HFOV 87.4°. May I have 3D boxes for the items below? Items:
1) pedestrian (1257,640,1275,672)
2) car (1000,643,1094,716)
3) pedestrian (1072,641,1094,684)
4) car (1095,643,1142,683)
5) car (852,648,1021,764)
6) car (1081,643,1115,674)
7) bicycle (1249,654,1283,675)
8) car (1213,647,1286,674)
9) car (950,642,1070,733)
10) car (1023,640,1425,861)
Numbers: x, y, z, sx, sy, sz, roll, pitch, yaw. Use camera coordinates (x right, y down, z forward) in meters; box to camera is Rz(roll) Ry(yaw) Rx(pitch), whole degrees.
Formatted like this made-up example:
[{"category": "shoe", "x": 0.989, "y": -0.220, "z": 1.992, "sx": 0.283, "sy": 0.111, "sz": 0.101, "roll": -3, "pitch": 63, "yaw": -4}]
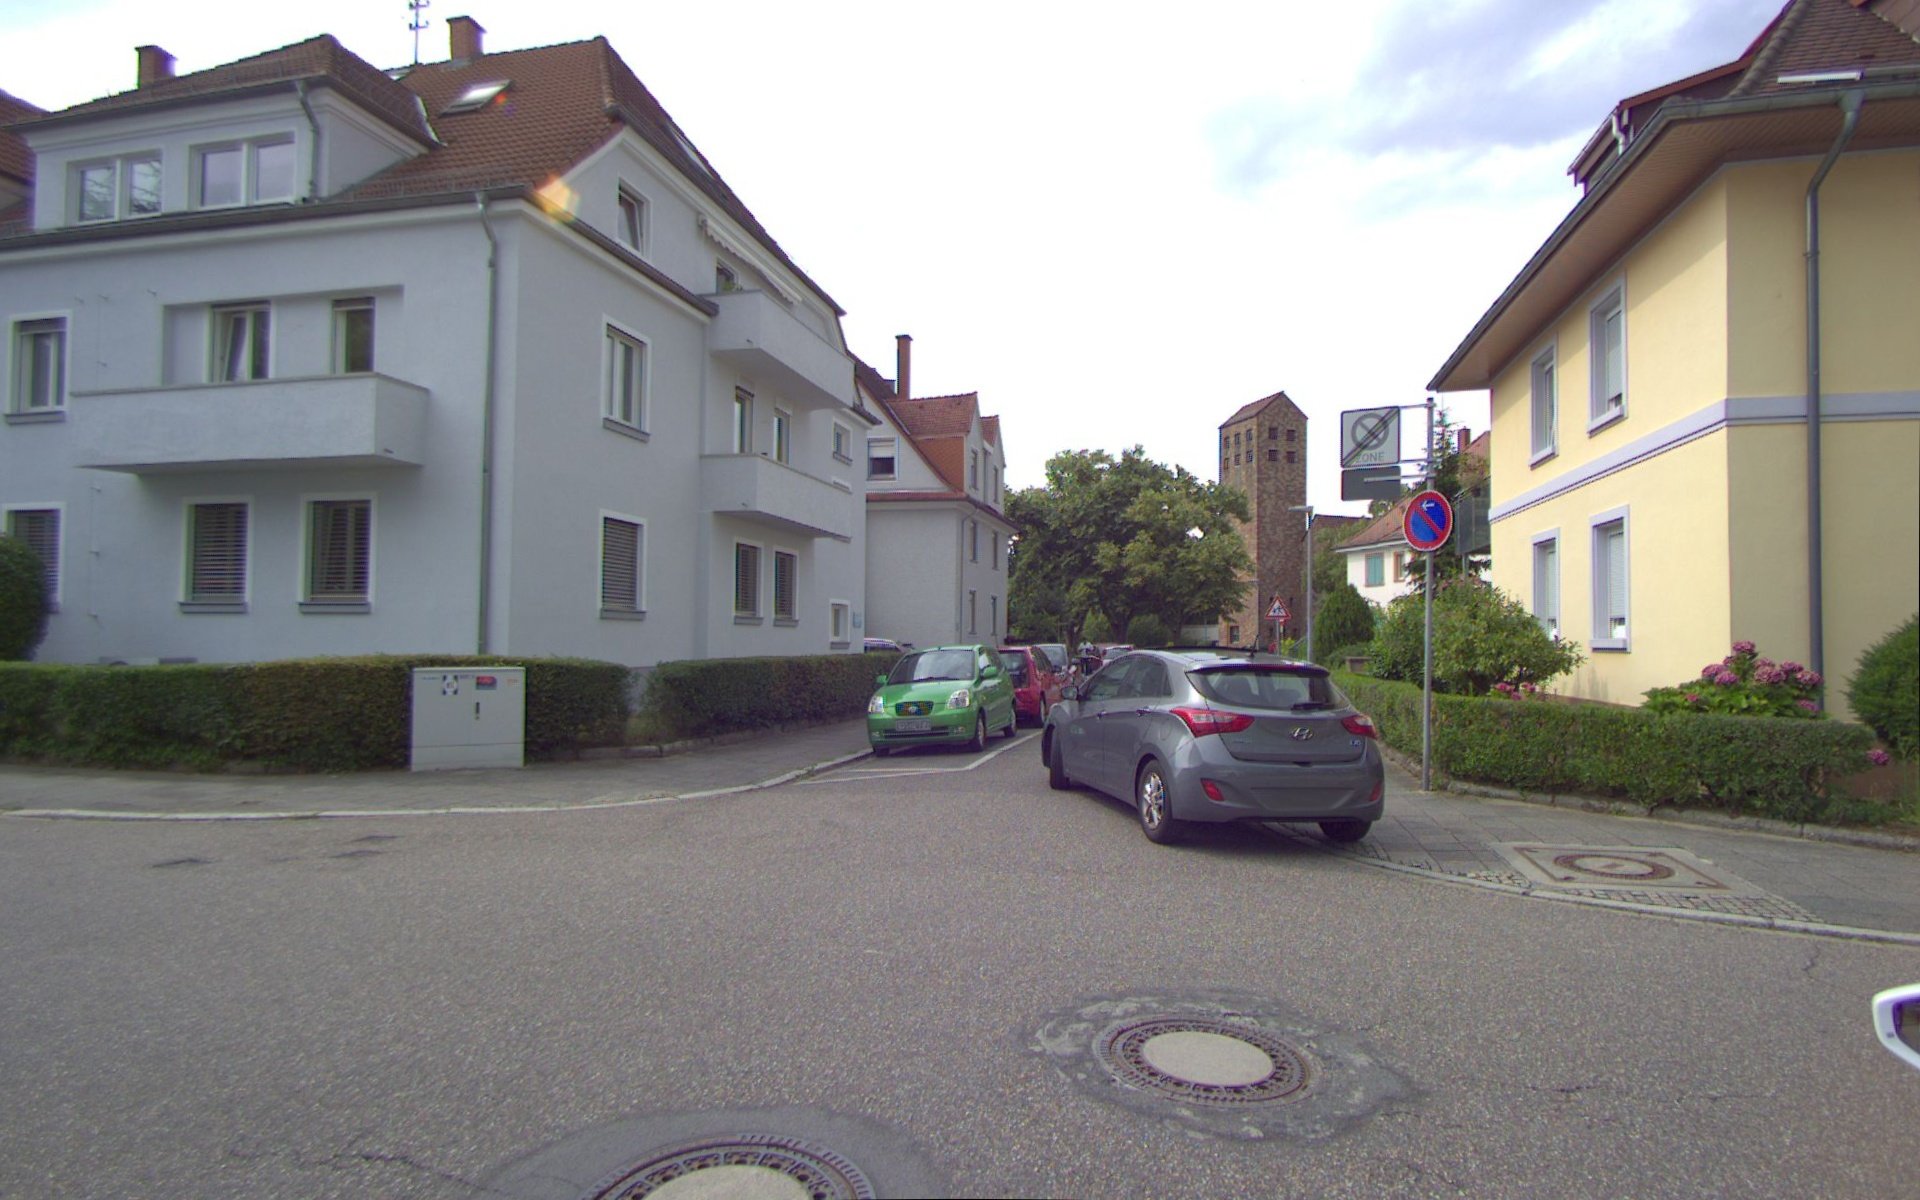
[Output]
[{"category": "pedestrian", "x": 17.620, "y": 3.233, "z": 57.797, "sx": 0.910, "sy": 1.841, "sz": 0.624, "roll": 0, "pitch": -2, "yaw": 8}, {"category": "car", "x": 2.081, "y": 1.791, "z": 23.235, "sx": 1.618, "sy": 1.515, "sz": 3.484, "roll": -3, "pitch": -3, "yaw": 13}, {"category": "pedestrian", "x": 5.583, "y": 2.814, "z": 45.457, "sx": 0.866, "sy": 1.903, "sz": 1.079, "roll": 0, "pitch": -2, "yaw": 14}, {"category": "car", "x": 6.562, "y": 2.569, "z": 41.387, "sx": 1.618, "sy": 1.515, "sz": 3.484, "roll": -3, "pitch": -3, "yaw": 13}, {"category": "car", "x": -0.221, "y": 1.474, "z": 14.804, "sx": 1.618, "sy": 1.440, "sz": 3.484, "roll": -3, "pitch": -3, "yaw": 13}, {"category": "car", "x": 7.131, "y": 3.009, "z": 51.898, "sx": 1.618, "sy": 1.515, "sz": 3.484, "roll": -3, "pitch": -3, "yaw": 8}, {"category": "bicycle", "x": 17.616, "y": 3.704, "z": 57.828, "sx": 1.858, "sy": 1.145, "sz": 0.454, "roll": 0, "pitch": -2, "yaw": 7}, {"category": "car", "x": 17.432, "y": 3.652, "z": 60.611, "sx": 4.142, "sy": 1.483, "sz": 1.685, "roll": 0, "pitch": -1, "yaw": 14}, {"category": "car", "x": 1.039, "y": 1.598, "z": 19.044, "sx": 1.618, "sy": 1.515, "sz": 3.484, "roll": -3, "pitch": -3, "yaw": 13}, {"category": "car", "x": 2.036, "y": 1.122, "z": 9.054, "sx": 1.823, "sy": 1.500, "sz": 4.031, "roll": 1, "pitch": -2, "yaw": -14}]
